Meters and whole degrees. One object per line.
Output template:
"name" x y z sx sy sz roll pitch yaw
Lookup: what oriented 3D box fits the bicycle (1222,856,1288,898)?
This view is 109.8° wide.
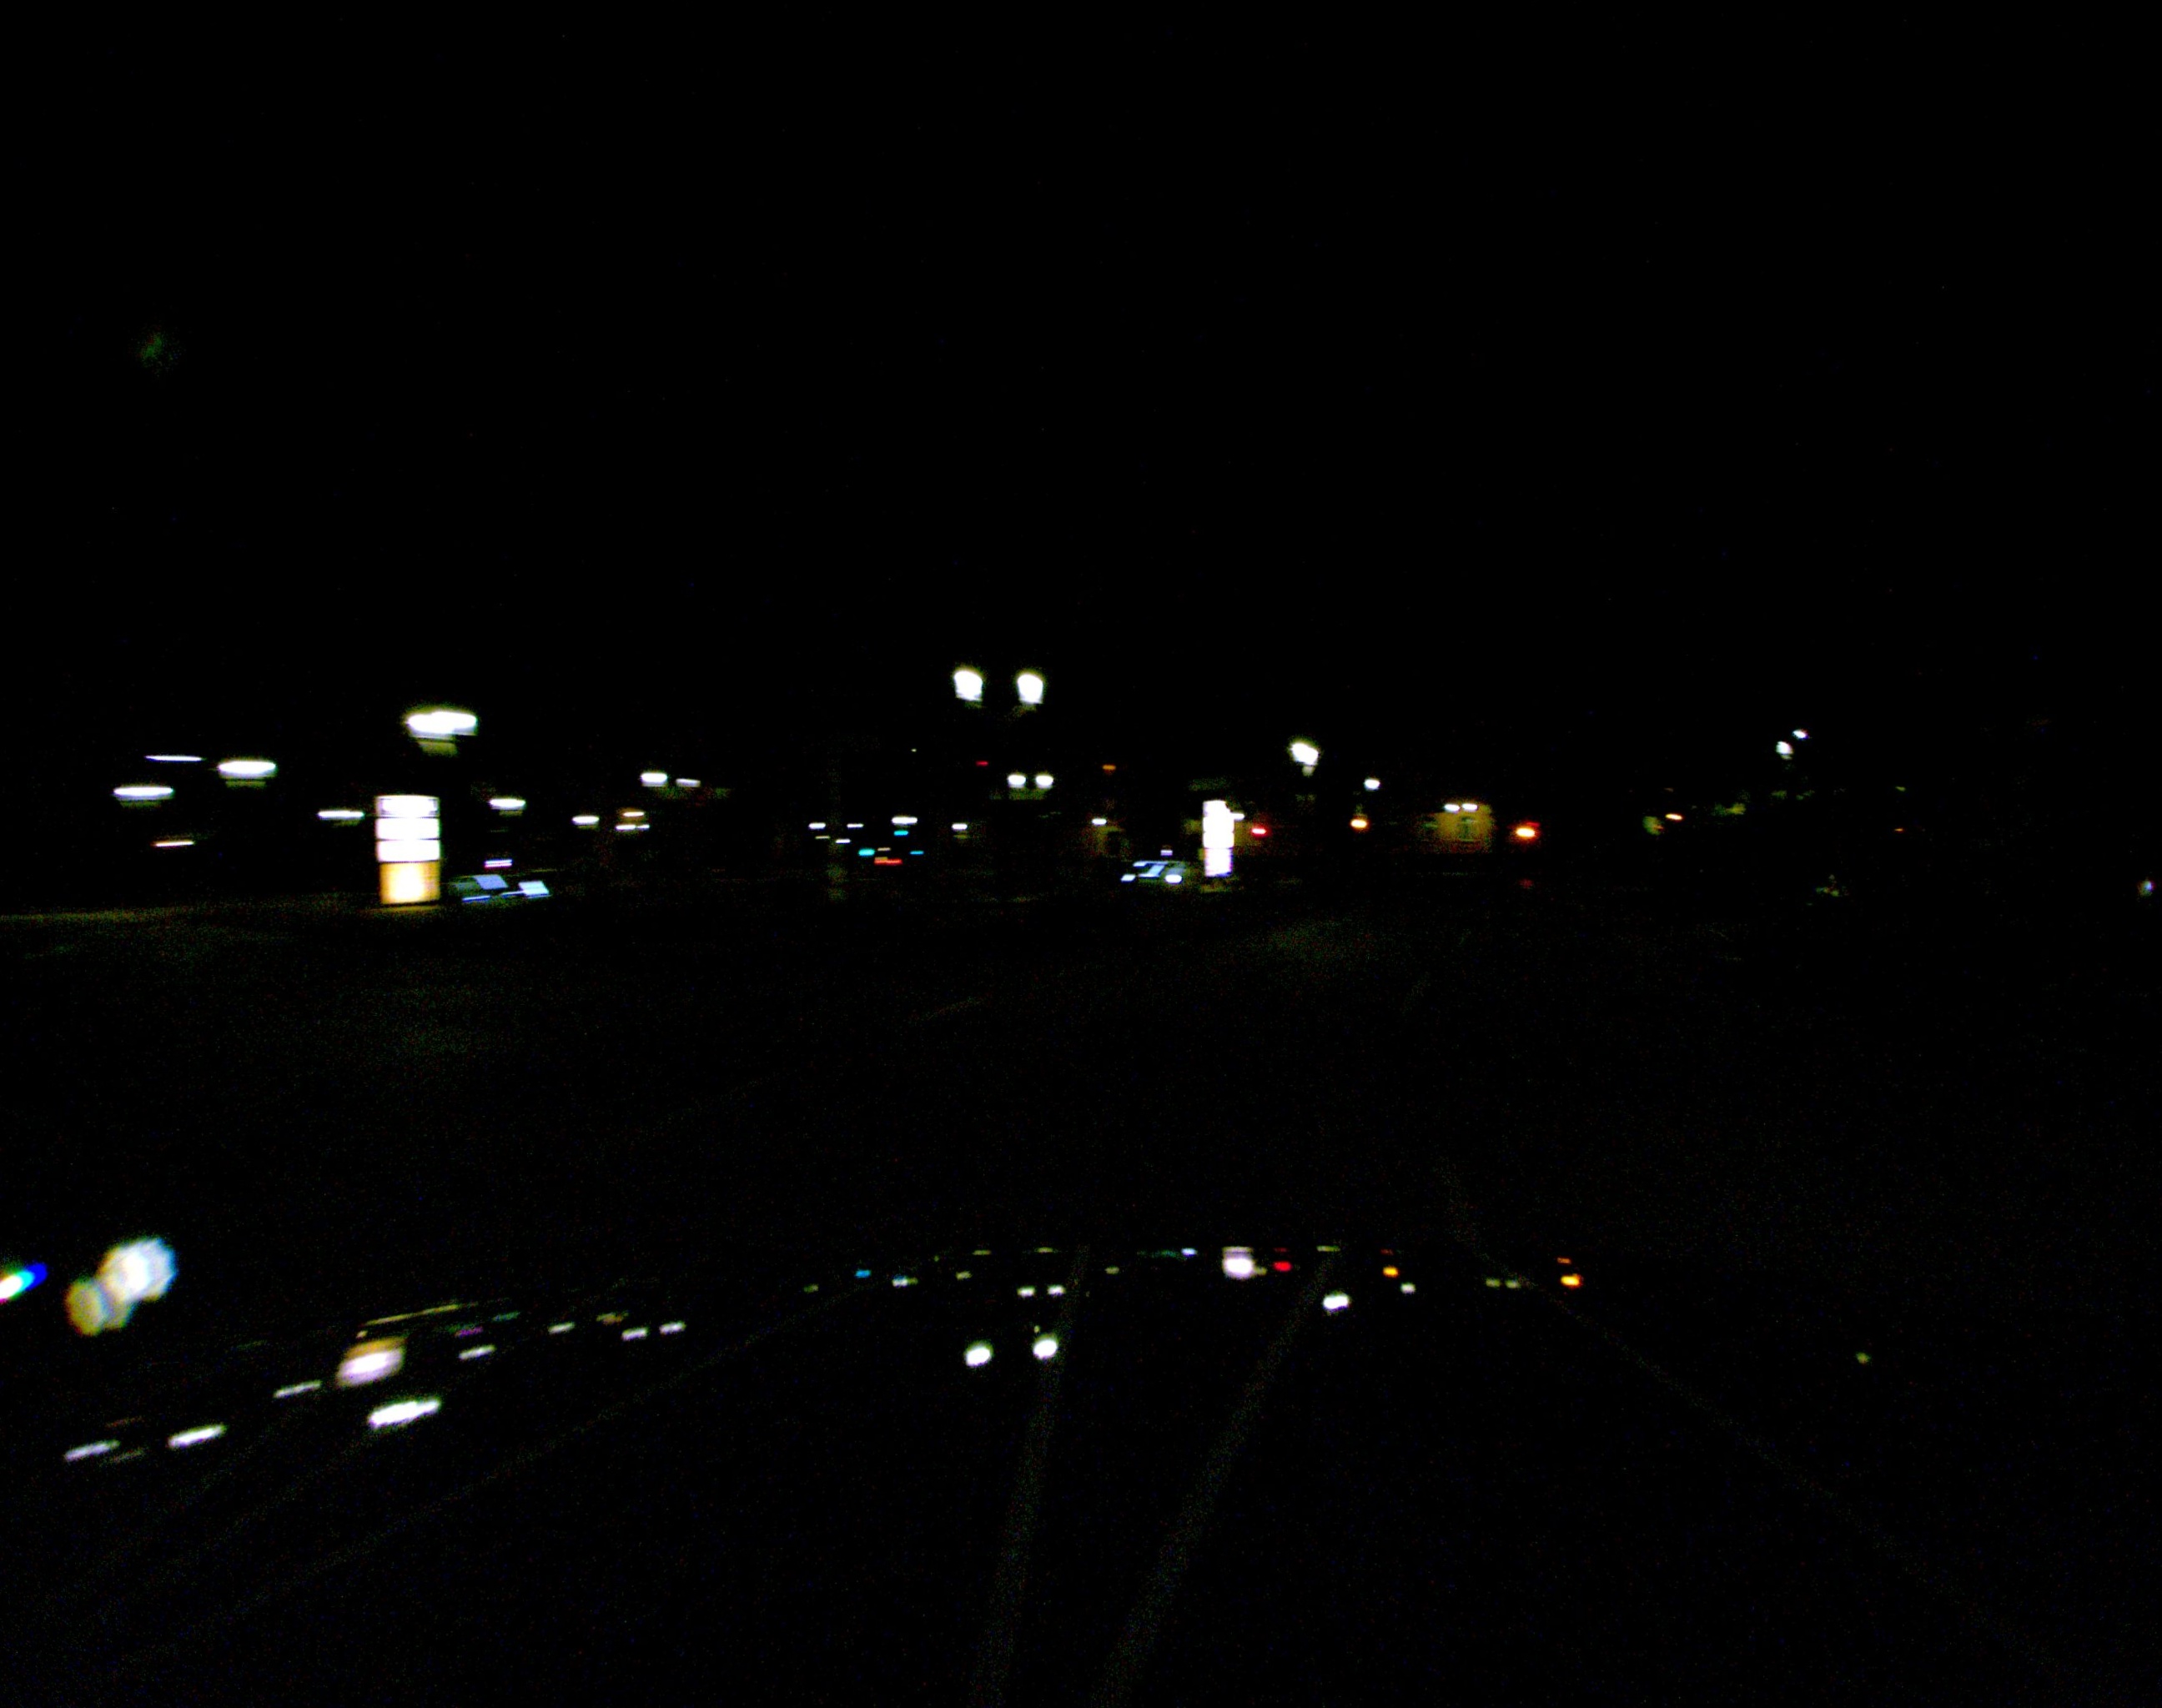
"bicycle" 5.017 0.655 21.953 1.772 1.144 0.583 0 1 35

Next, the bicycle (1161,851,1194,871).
"bicycle" 5.579 0.399 43.821 1.805 1.121 0.649 -1 1 -20

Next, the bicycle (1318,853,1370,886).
"bicycle" 9.333 0.545 27.006 1.655 1.128 0.643 0 1 30

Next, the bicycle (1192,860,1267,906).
"bicycle" 3.893 0.732 19.966 1.783 1.144 0.761 0 1 29

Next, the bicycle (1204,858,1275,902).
"bicycle" 4.304 0.685 20.619 1.773 1.144 0.615 0 1 29

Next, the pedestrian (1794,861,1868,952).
"pedestrian" 11.770 0.810 11.951 0.676 1.370 0.577 0 1 26

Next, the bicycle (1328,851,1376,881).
"bicycle" 10.627 0.457 29.825 1.656 1.134 0.829 0 1 30

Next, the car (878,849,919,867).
"car" -20.448 0.434 85.159 4.192 1.871 1.828 -1 1 -25

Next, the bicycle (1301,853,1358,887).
"bicycle" 8.609 0.553 26.380 1.789 1.128 0.630 0 1 28

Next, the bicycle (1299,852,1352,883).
"bicycle" 9.145 0.506 28.397 1.770 1.134 0.688 0 1 30

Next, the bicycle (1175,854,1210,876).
"bicycle" 6.054 0.591 41.281 1.805 1.121 0.649 -1 1 -20

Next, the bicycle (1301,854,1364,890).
"bicycle" 8.318 0.580 25.141 1.866 1.128 0.726 0 1 28

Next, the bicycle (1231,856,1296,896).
"bicycle" 5.386 0.640 22.475 1.772 1.144 0.583 0 1 35

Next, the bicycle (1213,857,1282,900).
"bicycle" 4.668 0.678 21.302 1.773 1.144 0.583 0 1 29

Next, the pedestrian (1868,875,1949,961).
"pedestrian" 11.990 0.905 11.029 0.575 1.157 0.679 0 1 26
